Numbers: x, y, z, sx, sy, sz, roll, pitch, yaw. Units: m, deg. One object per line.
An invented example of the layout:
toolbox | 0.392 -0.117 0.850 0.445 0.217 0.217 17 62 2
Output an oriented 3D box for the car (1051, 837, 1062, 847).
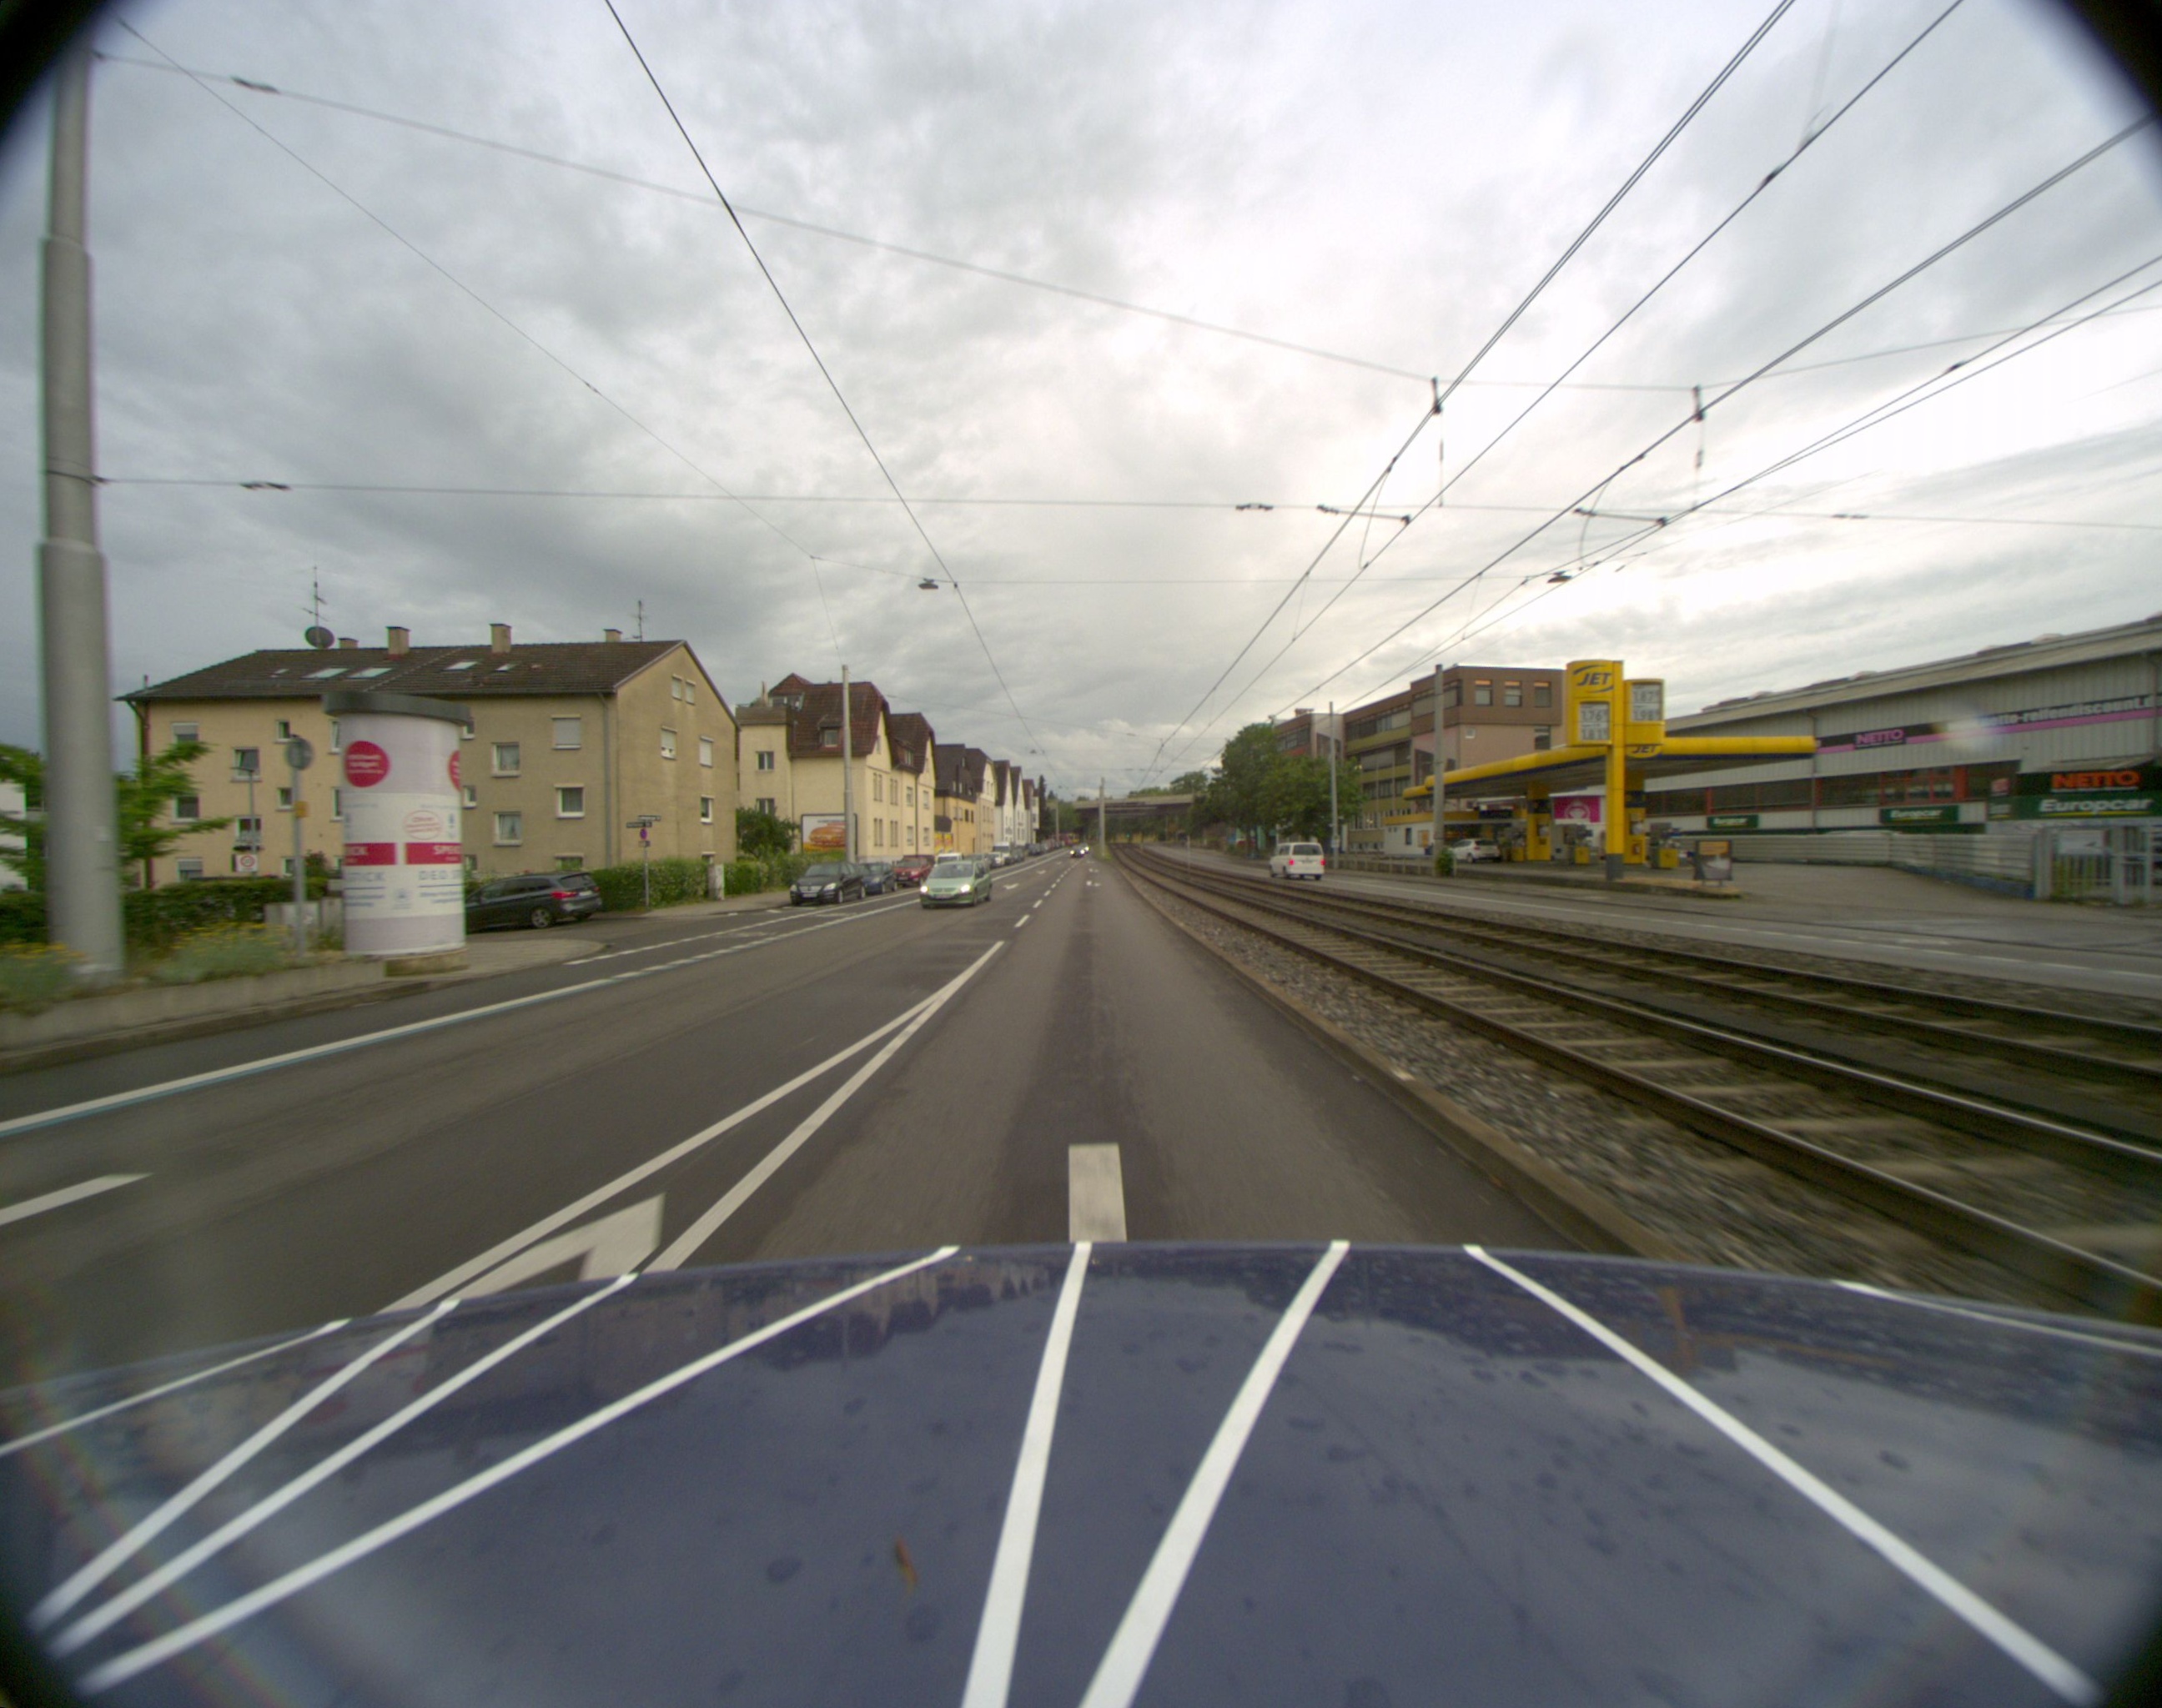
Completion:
car | -4.464 -2.198 139.400 1.726 1.539 4.200 -2 2 3

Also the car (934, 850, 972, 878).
car | -8.868 0.664 52.872 1.852 1.746 4.520 -2 1 -1

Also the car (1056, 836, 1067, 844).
car | -3.787 -2.781 149.621 1.726 1.539 4.200 -2 2 3

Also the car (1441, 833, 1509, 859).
car | 23.411 -0.492 45.291 1.775 1.408 4.073 -2 2 -2

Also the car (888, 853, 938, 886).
car | -9.431 0.856 42.976 1.841 1.619 4.098 -2 1 1

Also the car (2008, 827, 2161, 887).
car | 29.602 0.079 21.744 3.591 1.580 1.706 -1 3 37

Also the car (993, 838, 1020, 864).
car | -7.801 -0.410 79.876 2.045 2.485 5.919 -2 2 1

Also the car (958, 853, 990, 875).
car | -8.338 0.759 59.375 1.690 1.503 4.136 -2 1 2

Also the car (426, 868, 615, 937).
car | -16.832 1.423 22.955 4.283 1.646 1.879 -4 2 4

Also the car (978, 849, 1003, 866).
car | -8.213 0.334 69.386 1.605 1.394 3.791 -2 1 2

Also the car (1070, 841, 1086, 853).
car | -0.347 -0.903 96.816 1.887 1.417 4.200 -2 2 2

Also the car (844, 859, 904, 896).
car | -9.560 1.049 35.382 1.671 1.435 3.927 -2 1 -1

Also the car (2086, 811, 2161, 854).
car | 43.969 -0.831 30.988 4.100 1.640 1.850 1 0 -9

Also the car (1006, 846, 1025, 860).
car | -7.486 -0.124 86.719 1.726 1.338 4.083 -2 2 0

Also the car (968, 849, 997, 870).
car | -8.298 0.436 64.192 1.705 1.557 4.281 -2 2 2

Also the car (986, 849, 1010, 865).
car | -8.078 0.267 74.203 1.605 1.456 4.200 -2 2 2

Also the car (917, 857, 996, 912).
car | -4.089 0.956 25.635 1.888 1.441 4.199 -2 2 0

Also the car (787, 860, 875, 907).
car | -9.554 1.074 29.435 1.841 1.525 4.438 -2 1 0

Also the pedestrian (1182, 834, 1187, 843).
pedestrian | 19.438 -2.979 142.549 0.747 1.636 1.021 -1 2 2

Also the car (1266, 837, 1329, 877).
car | 11.699 0.148 41.388 1.998 2.002 5.059 2 0 1

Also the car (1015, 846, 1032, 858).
car | -7.027 -0.286 93.104 1.726 1.338 4.199 -2 2 0

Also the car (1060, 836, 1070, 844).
car | -3.210 -2.910 155.388 1.726 1.539 4.200 -2 2 3

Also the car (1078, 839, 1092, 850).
car | 0.622 -1.371 111.431 1.888 1.417 4.199 -2 2 0

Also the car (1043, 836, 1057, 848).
car | -5.177 -2.038 127.832 1.977 1.984 4.434 -2 2 2

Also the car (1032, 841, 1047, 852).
car | -6.069 -1.123 111.341 1.726 1.539 4.200 -2 2 3
